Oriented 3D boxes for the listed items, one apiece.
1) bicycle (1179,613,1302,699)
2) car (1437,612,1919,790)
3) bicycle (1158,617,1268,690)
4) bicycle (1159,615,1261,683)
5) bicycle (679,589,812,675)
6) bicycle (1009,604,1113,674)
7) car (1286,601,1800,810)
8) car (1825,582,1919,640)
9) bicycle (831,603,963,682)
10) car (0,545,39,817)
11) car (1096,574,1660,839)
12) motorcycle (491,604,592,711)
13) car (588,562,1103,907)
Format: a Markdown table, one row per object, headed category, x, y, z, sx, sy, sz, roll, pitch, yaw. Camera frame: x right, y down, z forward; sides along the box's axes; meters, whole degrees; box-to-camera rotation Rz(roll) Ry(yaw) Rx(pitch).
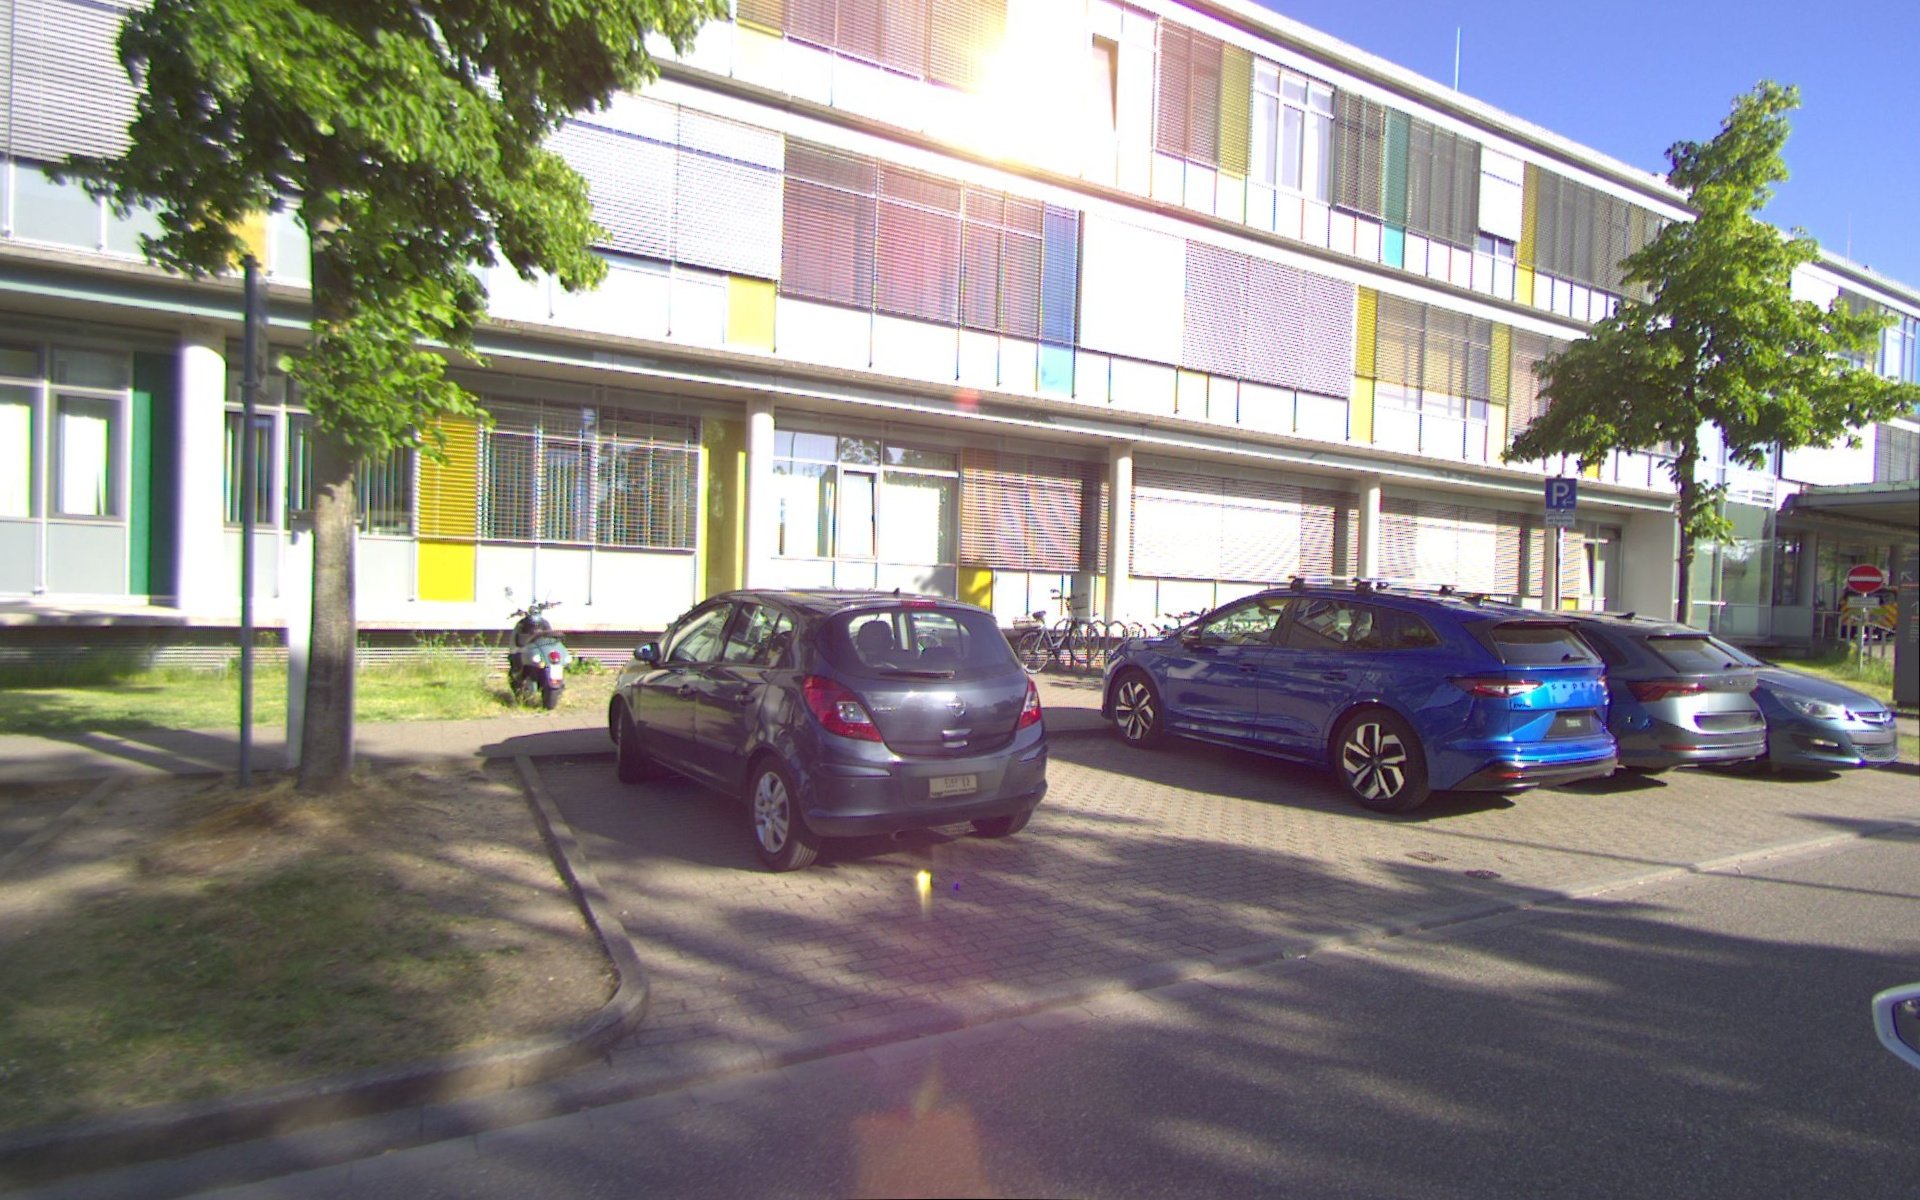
| category | x | y | z | sx | sy | sz | roll | pitch | yaw |
| --- | --- | --- | --- | --- | --- | --- | --- | --- | --- |
| bicycle | 4.019 | 0.786 | 14.346 | 1.759 | 1.158 | 0.632 | 1 | 0 | -30 |
| car | 7.562 | 0.906 | 10.857 | 1.733 | 1.486 | 4.112 | 1 | -1 | -29 |
| bicycle | 3.745 | 0.775 | 14.813 | 1.759 | 1.029 | 0.425 | 1 | 0 | -30 |
| bicycle | 4.035 | 0.780 | 16.159 | 1.759 | 1.029 | 0.445 | 1 | 0 | -30 |
| bicycle | -3.191 | 0.473 | 15.006 | 1.834 | 1.215 | 0.643 | 1 | 0 | -30 |
| bicycle | 1.741 | 0.664 | 17.124 | 1.834 | 1.151 | 0.445 | 1 | 0 | -30 |
| car | 5.334 | 0.821 | 9.759 | 1.711 | 1.457 | 3.967 | 1 | 1 | -30 |
| car | 32.602 | 0.396 | 35.240 | 4.654 | 1.916 | 1.911 | 1 | 0 | -29 |
| bicycle | -0.919 | 0.615 | 14.846 | 1.834 | 1.110 | 0.643 | 1 | 0 | -30 |
| car | -5.430 | 0.506 | 3.934 | 1.802 | 1.508 | 3.962 | 2 | 2 | -30 |
| car | 3.268 | 0.658 | 8.752 | 1.938 | 1.673 | 4.199 | 1 | 1 | -30 |
| motorcycle | -4.366 | 0.560 | 10.419 | 0.616 | 0.957 | 1.562 | 2 | 1 | -36 |
| car | -1.019 | 0.593 | 6.671 | 1.762 | 1.508 | 3.714 | 2 | 2 | -36 |
